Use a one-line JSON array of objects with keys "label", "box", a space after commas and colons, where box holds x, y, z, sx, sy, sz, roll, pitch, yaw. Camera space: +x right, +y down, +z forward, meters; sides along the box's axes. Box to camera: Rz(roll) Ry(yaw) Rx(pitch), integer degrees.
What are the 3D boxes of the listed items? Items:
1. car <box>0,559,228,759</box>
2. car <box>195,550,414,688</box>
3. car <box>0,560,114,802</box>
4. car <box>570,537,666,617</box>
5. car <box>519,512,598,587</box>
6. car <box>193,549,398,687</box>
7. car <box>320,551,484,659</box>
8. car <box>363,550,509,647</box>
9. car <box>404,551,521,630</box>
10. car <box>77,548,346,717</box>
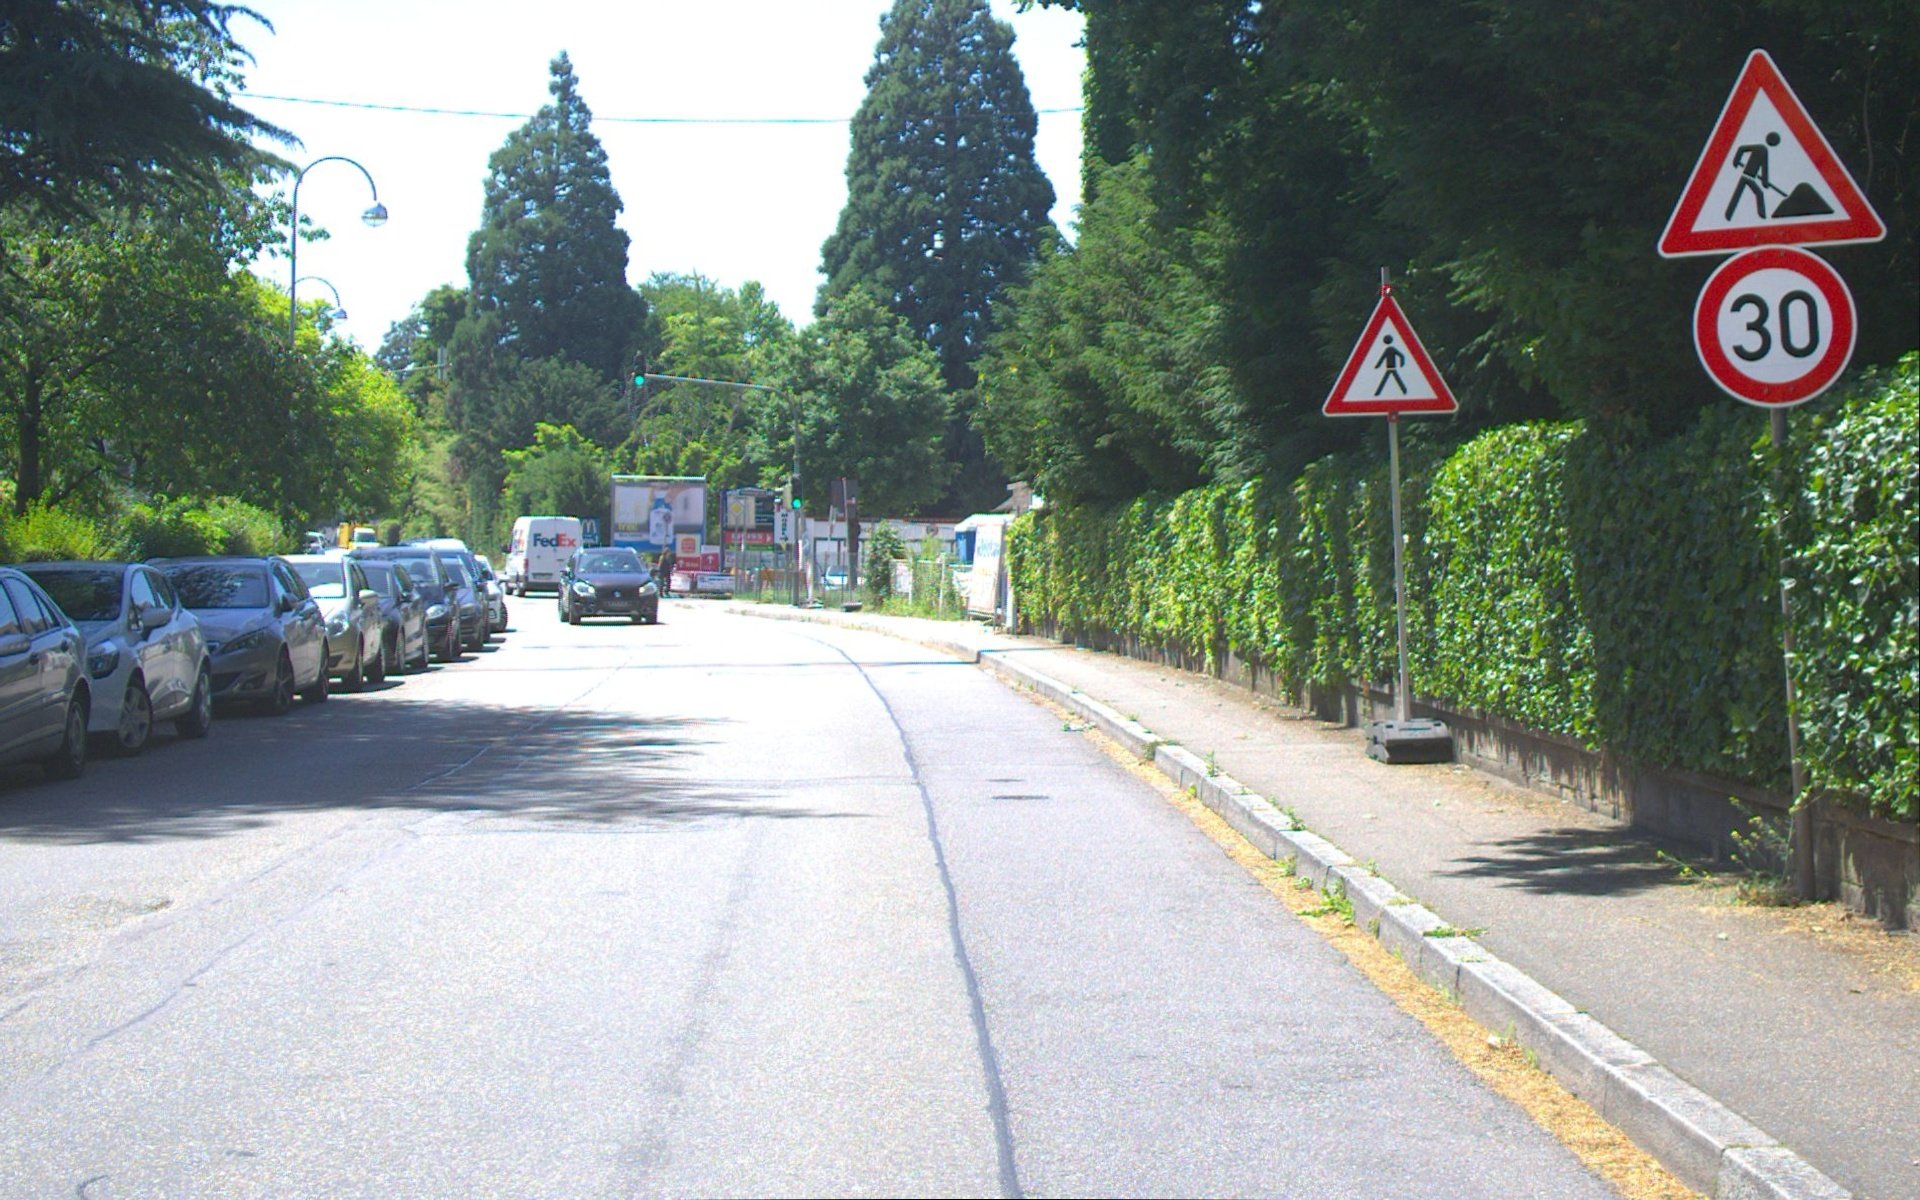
[{"label": "car", "box": [-6.769, 0.394, 26.248, 1.582, 1.385, 3.883, 0, 1, -1]}, {"label": "car", "box": [-7.213, 0.174, 38.154, 1.688, 1.439, 4.136, 0, 1, -1]}, {"label": "car", "box": [-6.588, 0.493, 21.199, 1.709, 1.434, 4.322, -1, 1, -1]}, {"label": "car", "box": [-6.979, -0.478, 70.471, 1.852, 1.579, 4.136, 0, 1, -4]}, {"label": "car", "box": [-12.765, -1.602, 108.983, 2.143, 2.307, 4.854, -1, 1, -10]}, {"label": "car", "box": [-7.326, 0.160, 38.209, 1.689, 1.444, 4.001, 0, 1, -3]}, {"label": "car", "box": [-7.794, 0.041, 48.339, 1.688, 1.439, 4.136, 0, 1, -1]}, {"label": "car", "box": [-8.124, -0.045, 53.601, 1.688, 1.439, 4.136, 0, 1, -1]}, {"label": "car", "box": [-9.444, -0.207, 65.482, 1.688, 1.439, 4.136, 0, 1, -1]}, {"label": "car", "box": [-6.983, 0.256, 32.459, 1.688, 1.439, 4.136, 0, 1, -1]}]
